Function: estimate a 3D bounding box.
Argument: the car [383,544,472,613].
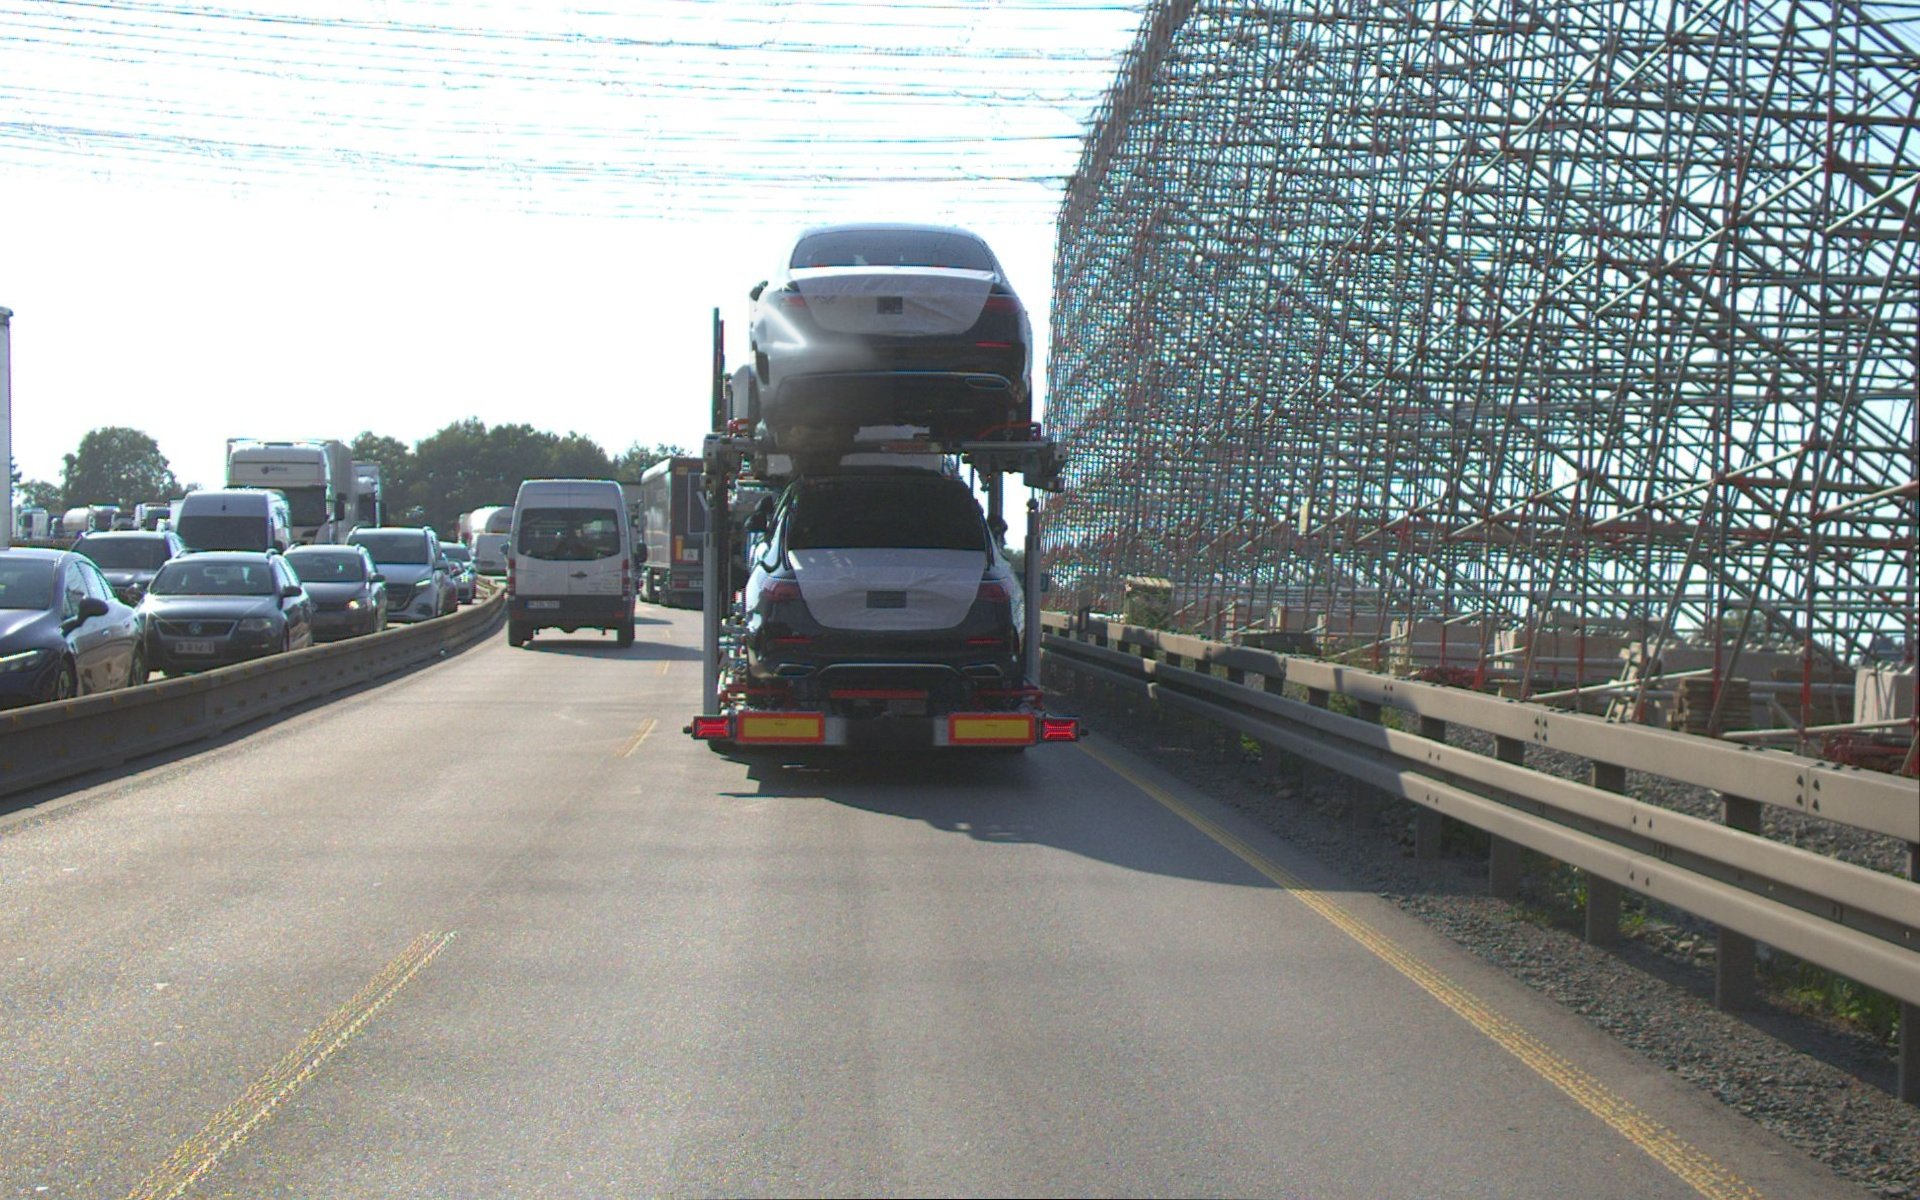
[{"bbox_3d":[-12.002,-0.498,77.370,1.836,1.448,4.001,1,1,-10],"label":"car"}]

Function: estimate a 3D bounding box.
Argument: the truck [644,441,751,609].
[{"bbox_3d":[-7.427,-2.079,96.534,2.731,4.370,11.523,1,1,-5],"label":"truck"}]

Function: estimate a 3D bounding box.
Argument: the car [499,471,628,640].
[{"bbox_3d":[-6.433,-0.690,55.462,1.956,2.612,4.001,0,0,-8],"label":"car"}]

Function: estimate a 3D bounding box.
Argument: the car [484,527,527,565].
[{"bbox_3d":[-19.497,-2.301,147.603,1.710,1.612,3.504,0,0,-5],"label":"car"}]

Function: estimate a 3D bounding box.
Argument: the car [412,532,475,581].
[{"bbox_3d":[-16.209,-1.373,107.787,1.701,1.448,4.001,1,1,-11],"label":"car"}]

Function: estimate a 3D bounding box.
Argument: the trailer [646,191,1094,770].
[{"bbox_3d":[-0.905,-0.813,29.627,2.868,3.712,14.949,0,0,-3],"label":"trailer"}]

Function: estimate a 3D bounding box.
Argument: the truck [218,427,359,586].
[{"bbox_3d":[-16.040,-2.189,82.757,2.594,3.462,12.395,1,1,-8],"label":"truck"}]

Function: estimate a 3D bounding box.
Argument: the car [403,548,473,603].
[{"bbox_3d":[-14.520,-0.698,95.466,1.701,1.448,4.001,1,1,-11],"label":"car"}]

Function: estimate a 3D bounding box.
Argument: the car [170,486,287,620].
[{"bbox_3d":[-14.518,-0.937,68.386,1.993,2.532,4.001,1,1,-9],"label":"car"}]

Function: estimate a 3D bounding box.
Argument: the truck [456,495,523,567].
[{"bbox_3d":[-25.266,-3.705,184.240,2.615,3.711,9.662,1,1,-13],"label":"truck"}]

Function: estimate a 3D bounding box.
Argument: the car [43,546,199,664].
[{"bbox_3d":[-12.663,0.040,52.067,1.679,1.678,4.001,2,1,-5],"label":"car"}]

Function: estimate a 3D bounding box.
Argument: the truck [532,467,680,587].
[{"bbox_3d":[-13.667,-2.692,131.609,3.686,4.206,13.672,-3,1,-13],"label":"truck"}]

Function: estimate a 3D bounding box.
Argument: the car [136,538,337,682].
[{"bbox_3d":[-8.359,0.077,40.047,1.741,1.537,4.406,2,1,-5],"label":"car"}]

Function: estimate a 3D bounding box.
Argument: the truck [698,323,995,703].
[{"bbox_3d":[-1.249,-0.867,37.188,2.881,3.690,7.326,0,0,-2],"label":"truck"}]

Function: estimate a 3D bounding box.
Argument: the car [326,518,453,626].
[{"bbox_3d":[-10.530,-0.528,63.718,1.836,1.887,4.001,2,1,-3],"label":"car"}]

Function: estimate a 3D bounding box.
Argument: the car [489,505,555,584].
[{"bbox_3d":[-14.776,-1.862,115.806,1.993,2.570,4.001,1,1,-9],"label":"car"}]

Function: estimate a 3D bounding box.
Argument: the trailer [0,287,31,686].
[{"bbox_3d":[-11.110,-1.129,30.709,2.653,4.219,13.922,2,1,-4],"label":"trailer"}]

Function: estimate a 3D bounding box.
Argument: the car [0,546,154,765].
[{"bbox_3d":[-7.521,0.343,26.288,1.784,1.497,4.755,2,1,-3],"label":"car"}]

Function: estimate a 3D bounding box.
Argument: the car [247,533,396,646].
[{"bbox_3d":[-9.734,-0.182,52.653,1.695,1.623,4.001,2,1,-3],"label":"car"}]
